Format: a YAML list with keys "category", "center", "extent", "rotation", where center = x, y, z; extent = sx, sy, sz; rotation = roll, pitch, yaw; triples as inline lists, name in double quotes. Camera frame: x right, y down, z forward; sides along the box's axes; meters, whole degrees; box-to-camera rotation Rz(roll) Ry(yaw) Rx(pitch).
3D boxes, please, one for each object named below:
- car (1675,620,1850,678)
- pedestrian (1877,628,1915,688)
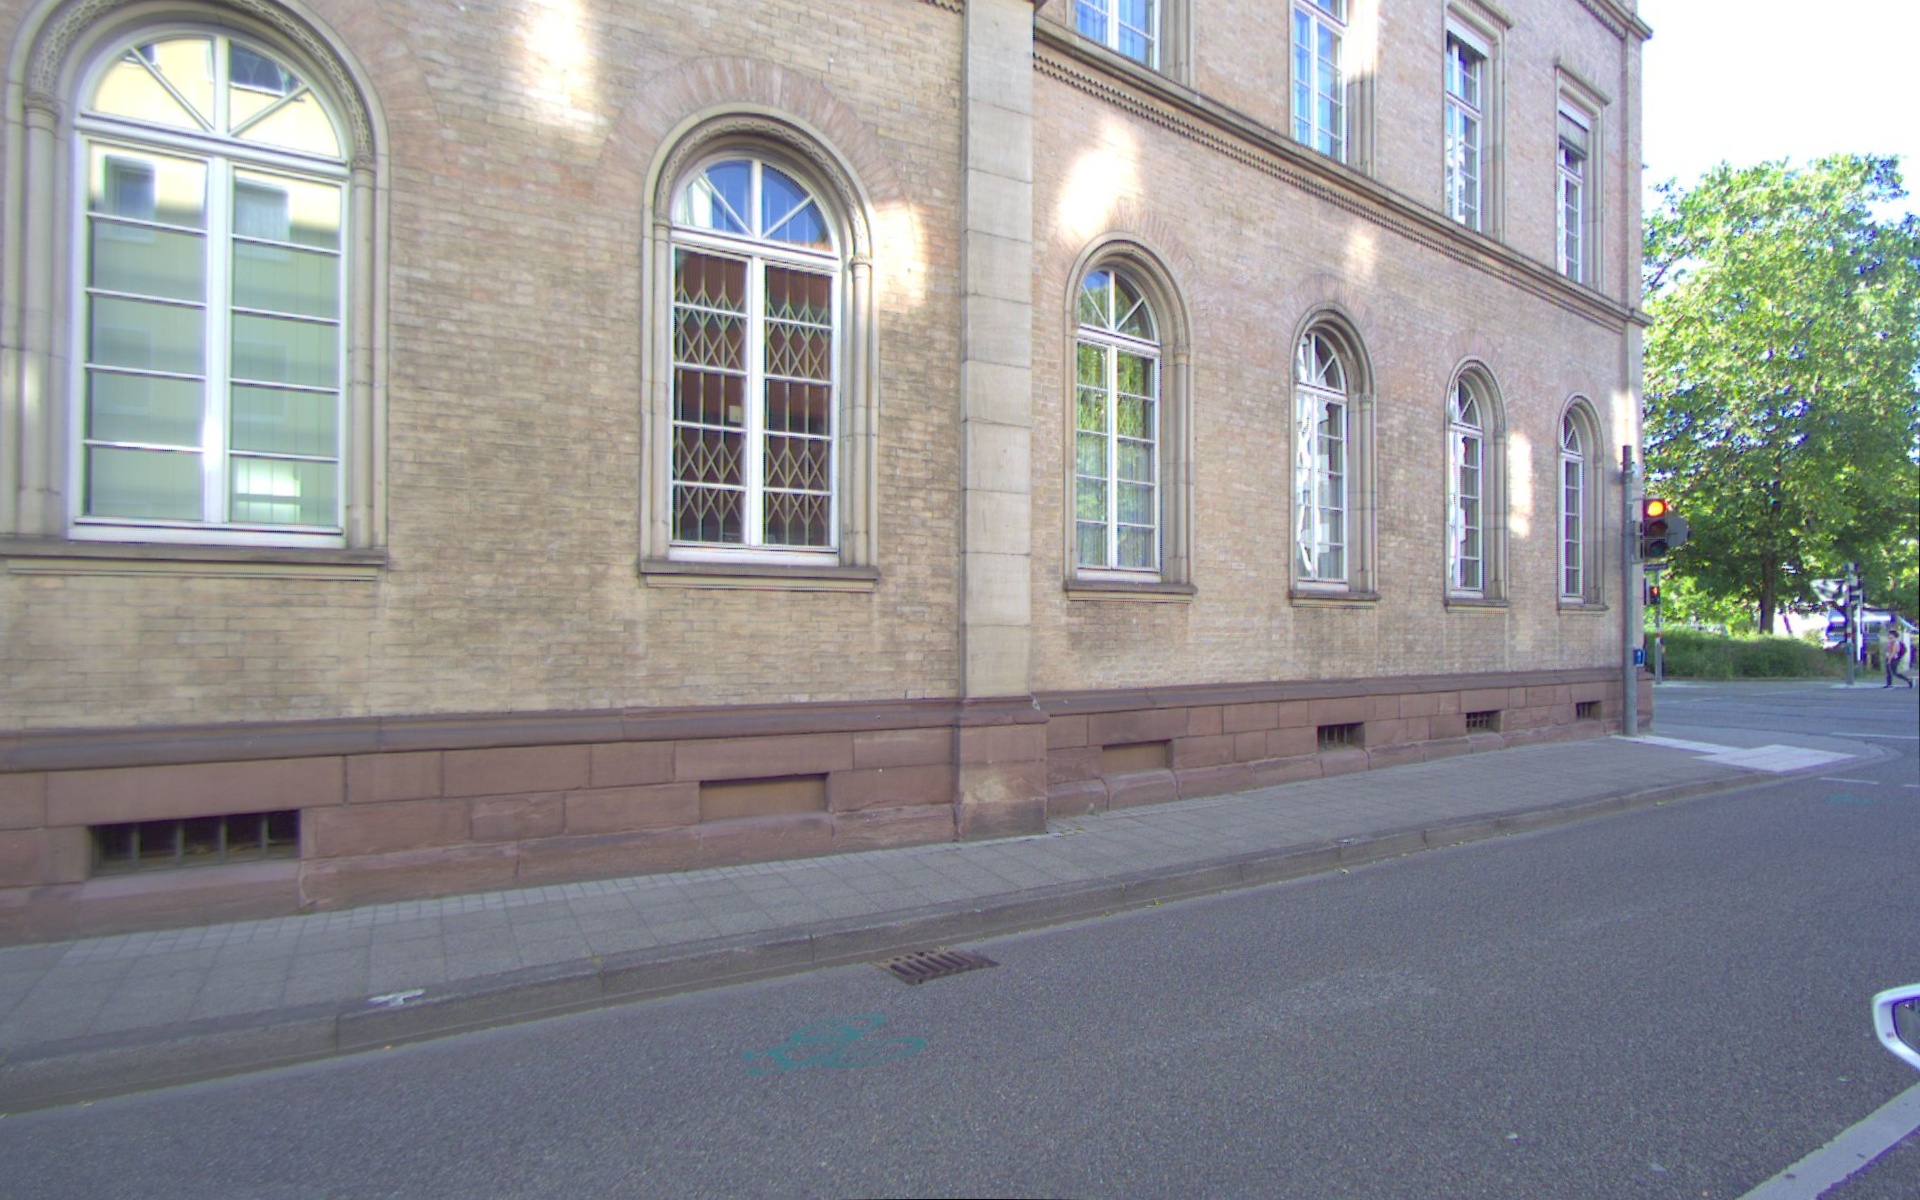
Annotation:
- category: "car"
  center: [26.349, 1.561, 33.100]
  extent: [1.888, 1.801, 4.193]
  rotation: [1, -2, -37]
- category: "pedestrian"
  center: [25.925, 1.589, 27.831]
  extent: [0.703, 1.620, 0.614]
  rotation: [-1, -1, 39]
